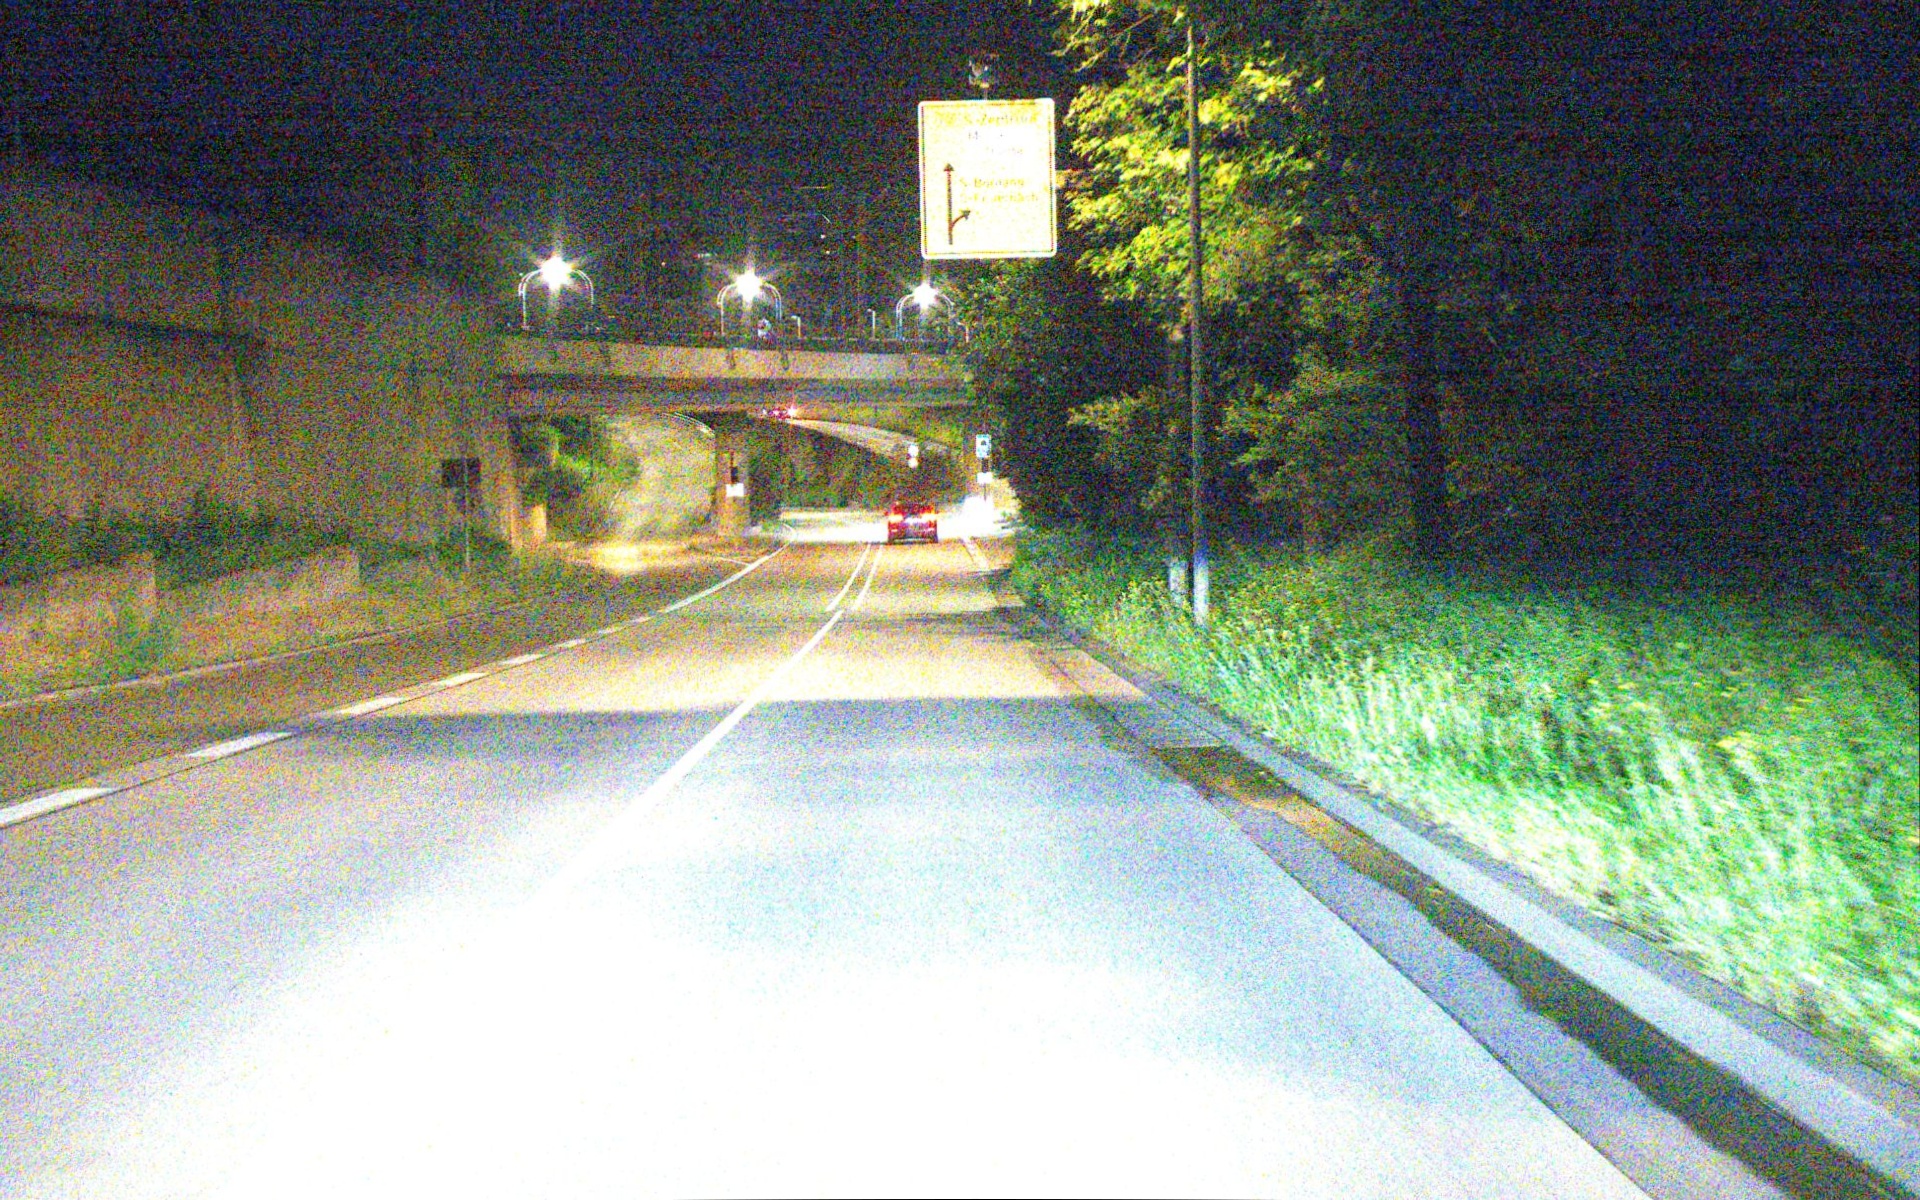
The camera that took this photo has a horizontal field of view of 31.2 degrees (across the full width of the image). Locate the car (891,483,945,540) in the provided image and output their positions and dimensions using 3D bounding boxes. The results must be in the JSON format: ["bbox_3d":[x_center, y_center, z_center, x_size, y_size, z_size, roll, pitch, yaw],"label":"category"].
[{"bbox_3d":[-1.527,-3.224,125.731,1.918,2.007,4.123,1,1,-1],"label":"car"}]
